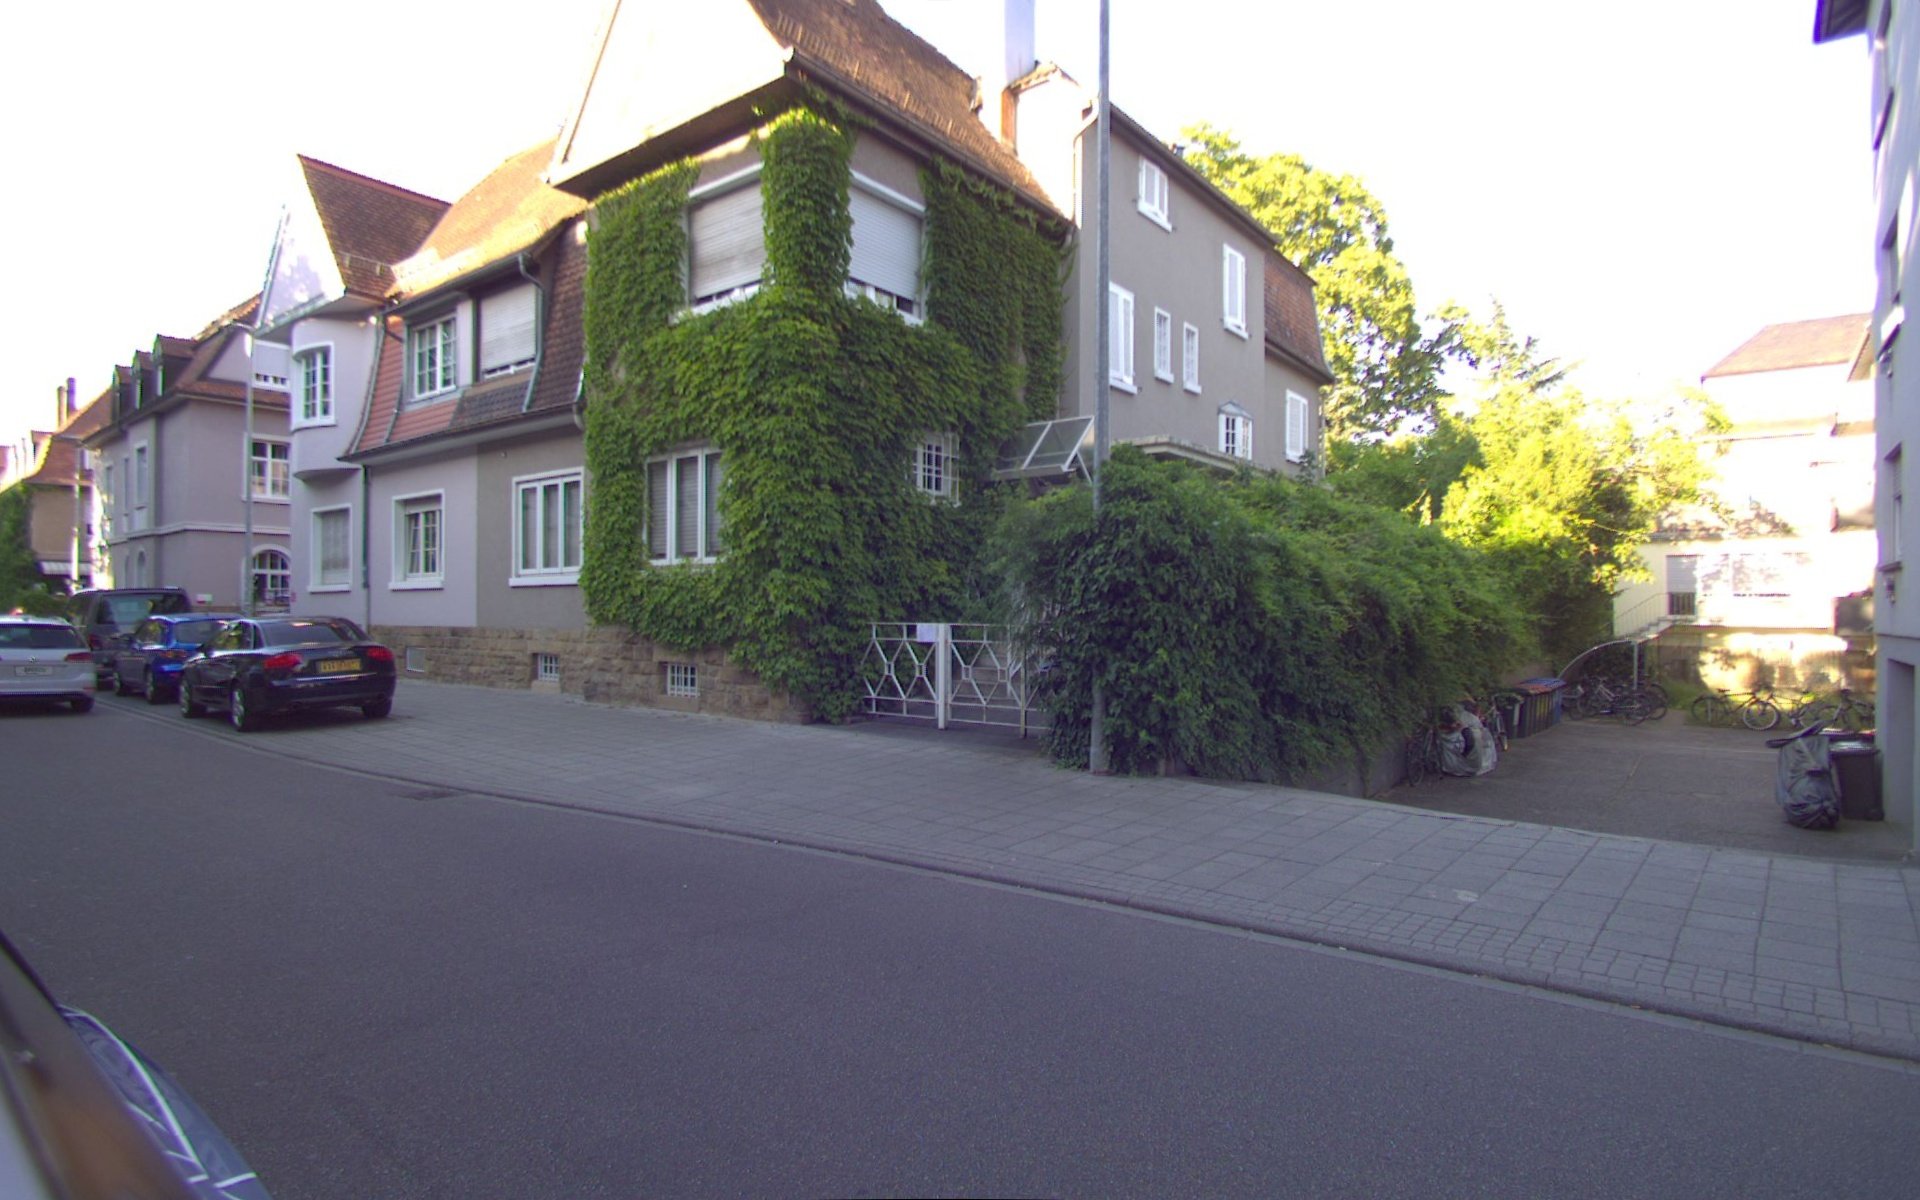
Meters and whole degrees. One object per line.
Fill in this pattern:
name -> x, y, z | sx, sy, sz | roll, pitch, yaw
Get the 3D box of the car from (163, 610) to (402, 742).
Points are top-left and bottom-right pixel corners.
car -> -9.322, 0.905, 13.803 | 4.023, 1.439, 1.729 | 0, 2, 42

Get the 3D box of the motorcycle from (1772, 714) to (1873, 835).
motorcycle -> 10.724, 2.127, 12.631 | 0.757, 1.261, 1.575 | -1, -3, 34

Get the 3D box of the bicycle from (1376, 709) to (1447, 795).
bicycle -> 6.781, 2.237, 15.158 | 0.514, 1.027, 1.914 | 1, 0, 38

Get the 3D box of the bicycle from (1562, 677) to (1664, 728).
bicycle -> 16.276, 2.526, 25.263 | 2.068, 1.028, 0.634 | 1, 3, 41

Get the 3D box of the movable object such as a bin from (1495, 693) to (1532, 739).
movable object such as a bin -> 11.545, 2.405, 21.101 | 0.576, 0.886, 0.488 | 0, -3, 41

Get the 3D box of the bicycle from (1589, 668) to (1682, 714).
bicycle -> 18.618, 2.494, 27.943 | 2.068, 1.028, 0.608 | 1, 3, 41

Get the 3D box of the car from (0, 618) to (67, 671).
car -> -27.189, 1.249, 29.067 | 4.331, 1.381, 1.698 | -1, 1, 40

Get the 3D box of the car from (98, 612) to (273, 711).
car -> -13.711, 0.987, 17.841 | 4.021, 1.475, 1.591 | 0, 2, 40

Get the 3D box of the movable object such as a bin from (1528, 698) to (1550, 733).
movable object such as a bin -> 13.023, 2.591, 22.770 | 0.375, 0.764, 0.359 | -1, -4, 41

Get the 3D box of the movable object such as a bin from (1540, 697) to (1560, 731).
movable object such as a bin -> 13.788, 2.657, 23.667 | 0.346, 0.764, 0.359 | -1, -4, 41

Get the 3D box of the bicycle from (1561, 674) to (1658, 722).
bicycle -> 16.840, 2.518, 26.275 | 2.068, 1.028, 0.565 | 1, 3, 41

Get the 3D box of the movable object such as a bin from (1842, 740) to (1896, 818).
movable object such as a bin -> 11.762, 2.299, 13.104 | 0.432, 0.894, 0.717 | -1, -3, 37

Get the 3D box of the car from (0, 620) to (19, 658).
car -> -36.528, 1.460, 37.688 | 3.942, 1.381, 1.698 | -1, 1, 40

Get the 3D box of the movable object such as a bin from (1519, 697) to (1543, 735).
movable object such as a bin -> 12.502, 2.538, 22.166 | 0.398, 0.779, 0.359 | -1, -4, 41

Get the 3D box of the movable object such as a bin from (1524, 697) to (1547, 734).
movable object such as a bin -> 12.772, 2.566, 22.469 | 0.381, 0.779, 0.359 | -1, -4, 41

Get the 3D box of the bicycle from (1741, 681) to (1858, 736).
bicycle -> 19.590, 2.514, 23.647 | 2.068, 1.028, 0.634 | 1, 3, 41

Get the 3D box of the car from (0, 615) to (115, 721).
car -> -14.818, 1.004, 15.623 | 4.293, 1.473, 1.764 | -2, -4, 37

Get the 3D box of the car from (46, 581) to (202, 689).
car -> -17.459, 0.649, 21.075 | 4.308, 1.987, 1.698 | 0, 2, 40

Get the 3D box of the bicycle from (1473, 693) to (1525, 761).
bicycle -> 9.958, 2.315, 18.678 | 0.514, 1.027, 1.914 | 1, 0, 38

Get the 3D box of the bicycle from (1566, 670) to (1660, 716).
bicycle -> 17.701, 2.506, 27.477 | 2.068, 1.028, 0.608 | 1, 3, 41

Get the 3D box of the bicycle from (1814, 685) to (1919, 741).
bicycle -> 20.582, 2.533, 22.766 | 2.068, 1.028, 0.634 | 1, 3, 41

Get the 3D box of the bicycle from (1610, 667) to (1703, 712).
bicycle -> 19.420, 2.484, 28.248 | 2.068, 1.028, 0.561 | 1, 3, 41

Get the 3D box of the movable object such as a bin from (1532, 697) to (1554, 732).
movable object such as a bin -> 13.286, 2.606, 23.064 | 0.367, 0.764, 0.359 | -1, -4, 41

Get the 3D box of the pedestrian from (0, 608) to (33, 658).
pedestrian -> -39.021, 1.363, 41.648 | 0.931, 2.029, 1.172 | -2, -4, 45

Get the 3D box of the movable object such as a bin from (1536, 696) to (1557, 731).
movable object such as a bin -> 13.538, 2.618, 23.361 | 0.367, 0.764, 0.359 | -1, -4, 41

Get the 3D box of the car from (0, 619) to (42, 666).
car -> -30.467, 1.339, 32.050 | 3.942, 1.381, 1.522 | -1, 1, 40

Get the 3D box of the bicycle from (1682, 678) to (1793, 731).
bicycle -> 18.717, 2.494, 24.398 | 2.068, 1.028, 0.634 | 1, 3, 41
